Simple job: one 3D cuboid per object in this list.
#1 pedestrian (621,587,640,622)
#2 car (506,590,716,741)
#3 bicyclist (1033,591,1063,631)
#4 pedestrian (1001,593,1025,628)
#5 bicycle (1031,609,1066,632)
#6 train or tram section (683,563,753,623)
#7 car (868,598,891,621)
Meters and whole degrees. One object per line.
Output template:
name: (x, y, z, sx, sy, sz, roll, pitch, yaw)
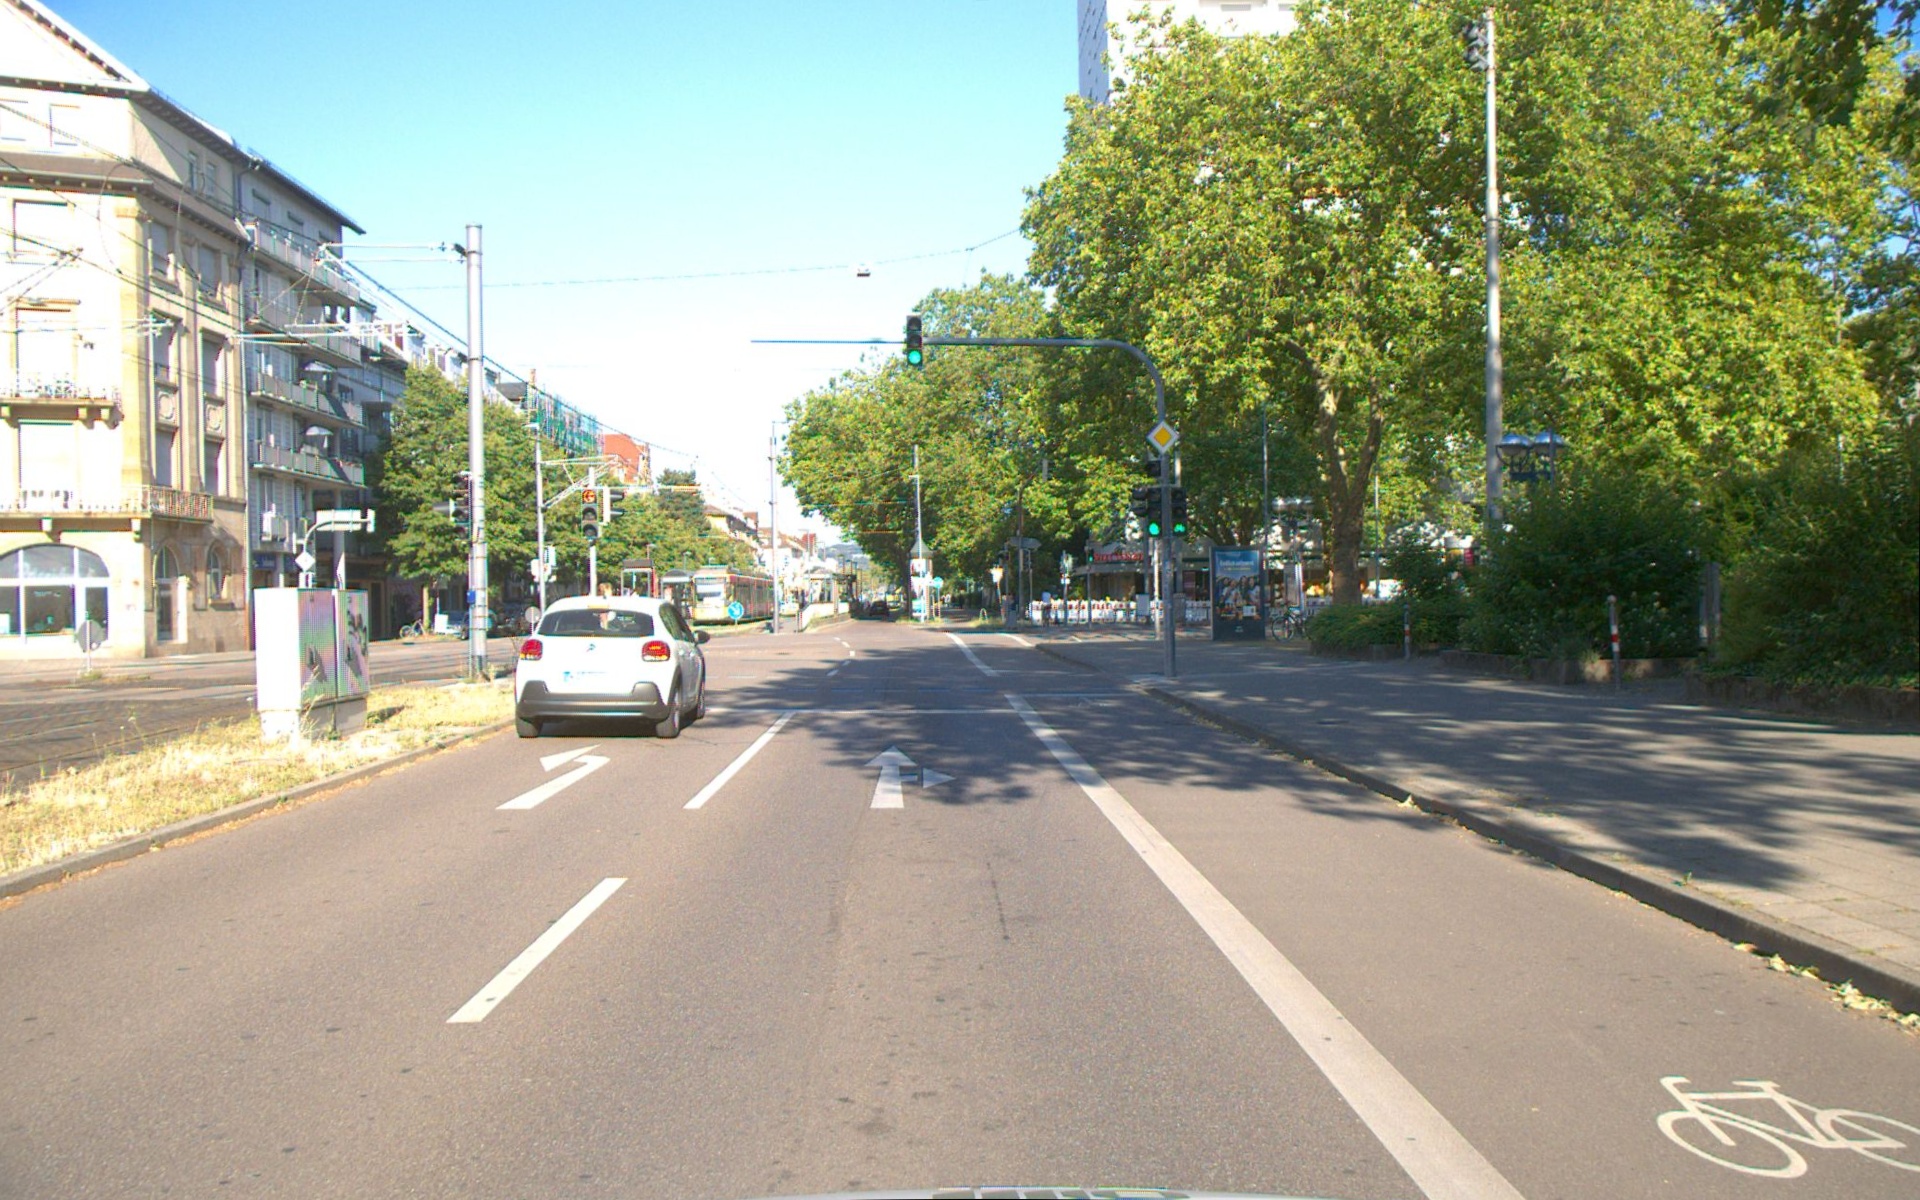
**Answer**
pedestrian: (-17.886, 0.247, 89.852, 0.944, 1.865, 0.988, 1, 0, -8)
car: (-3.800, 0.659, 18.569, 1.710, 1.487, 3.642, 1, 0, -3)
bicyclist: (3.820, 0.485, 72.017, 1.175, 1.726, 0.903, 1, 0, -5)
pedestrian: (2.177, 0.431, 67.921, 0.647, 1.412, 0.830, 1, 0, 30)
bicycle: (3.834, 0.895, 71.967, 1.175, 0.951, 2.571, 1, 0, -5)
train or tram section: (-14.821, -0.453, 102.026, 2.892, 3.470, 10.788, 1, 0, -1)
car: (-7.436, 0.905, 153.148, 1.953, 2.049, 3.999, 1, 0, -1)
